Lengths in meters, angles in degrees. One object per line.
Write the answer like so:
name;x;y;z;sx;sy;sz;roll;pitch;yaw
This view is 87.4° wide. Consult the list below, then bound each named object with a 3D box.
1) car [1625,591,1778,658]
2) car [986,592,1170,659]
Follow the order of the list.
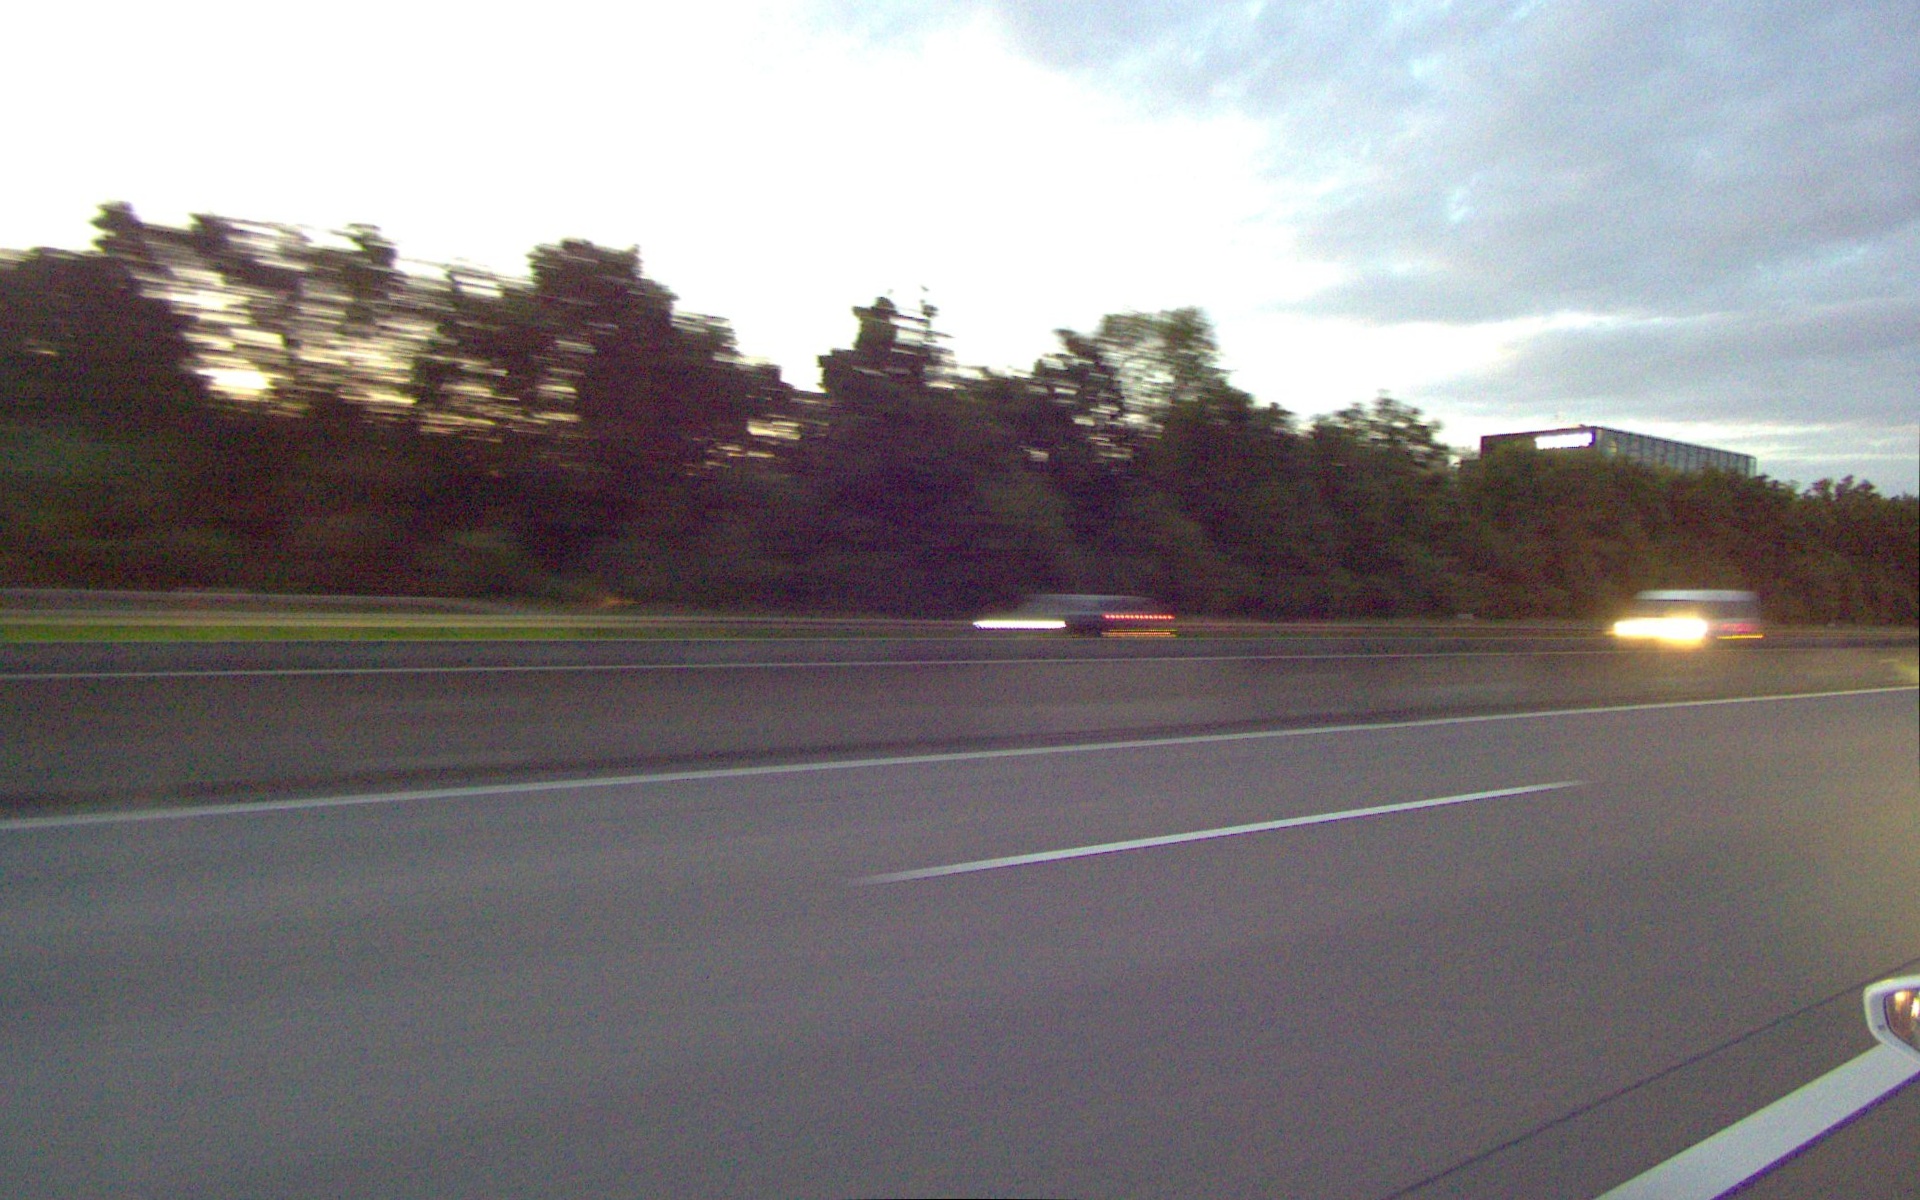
car;29.458;0.992;39.816;7.013;2.464;2.314;2;0;-31
car;3.330;0.732;28.114;4.913;1.716;1.983;2;0;-31
